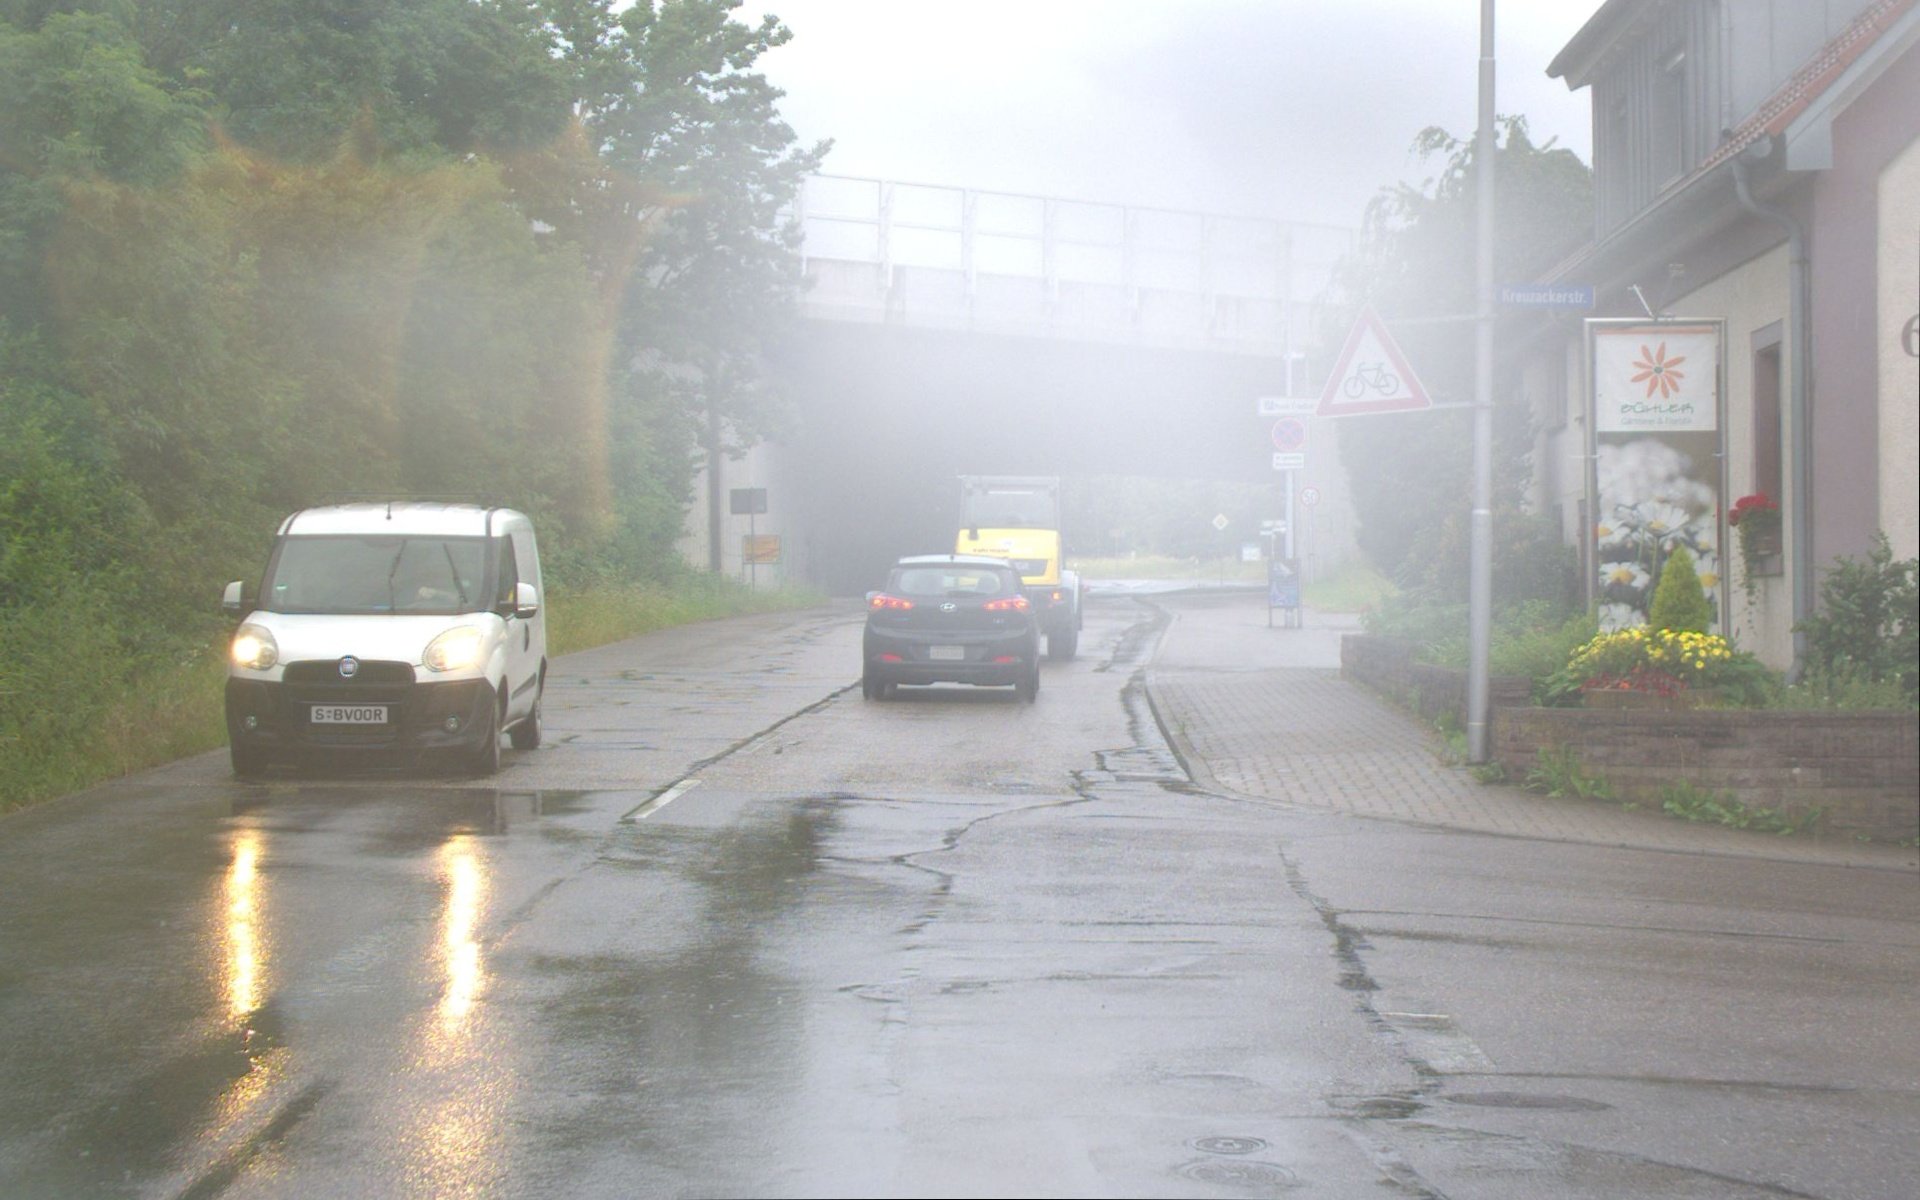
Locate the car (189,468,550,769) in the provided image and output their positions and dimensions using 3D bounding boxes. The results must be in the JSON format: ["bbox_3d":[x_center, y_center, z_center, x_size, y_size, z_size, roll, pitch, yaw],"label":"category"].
[{"bbox_3d":[-3.923,0.085,23.513,1.823,1.825,4.308,2,1,-2],"label":"car"}]

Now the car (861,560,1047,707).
[{"bbox_3d":[-0.011,0.299,35.302,1.709,1.373,4.000,2,1,2],"label":"car"}]

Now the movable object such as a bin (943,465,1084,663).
[{"bbox_3d":[0.775,-0.495,47.175,1.761,2.539,4.239,2,1,2],"label":"movable object such as a bin"}]
